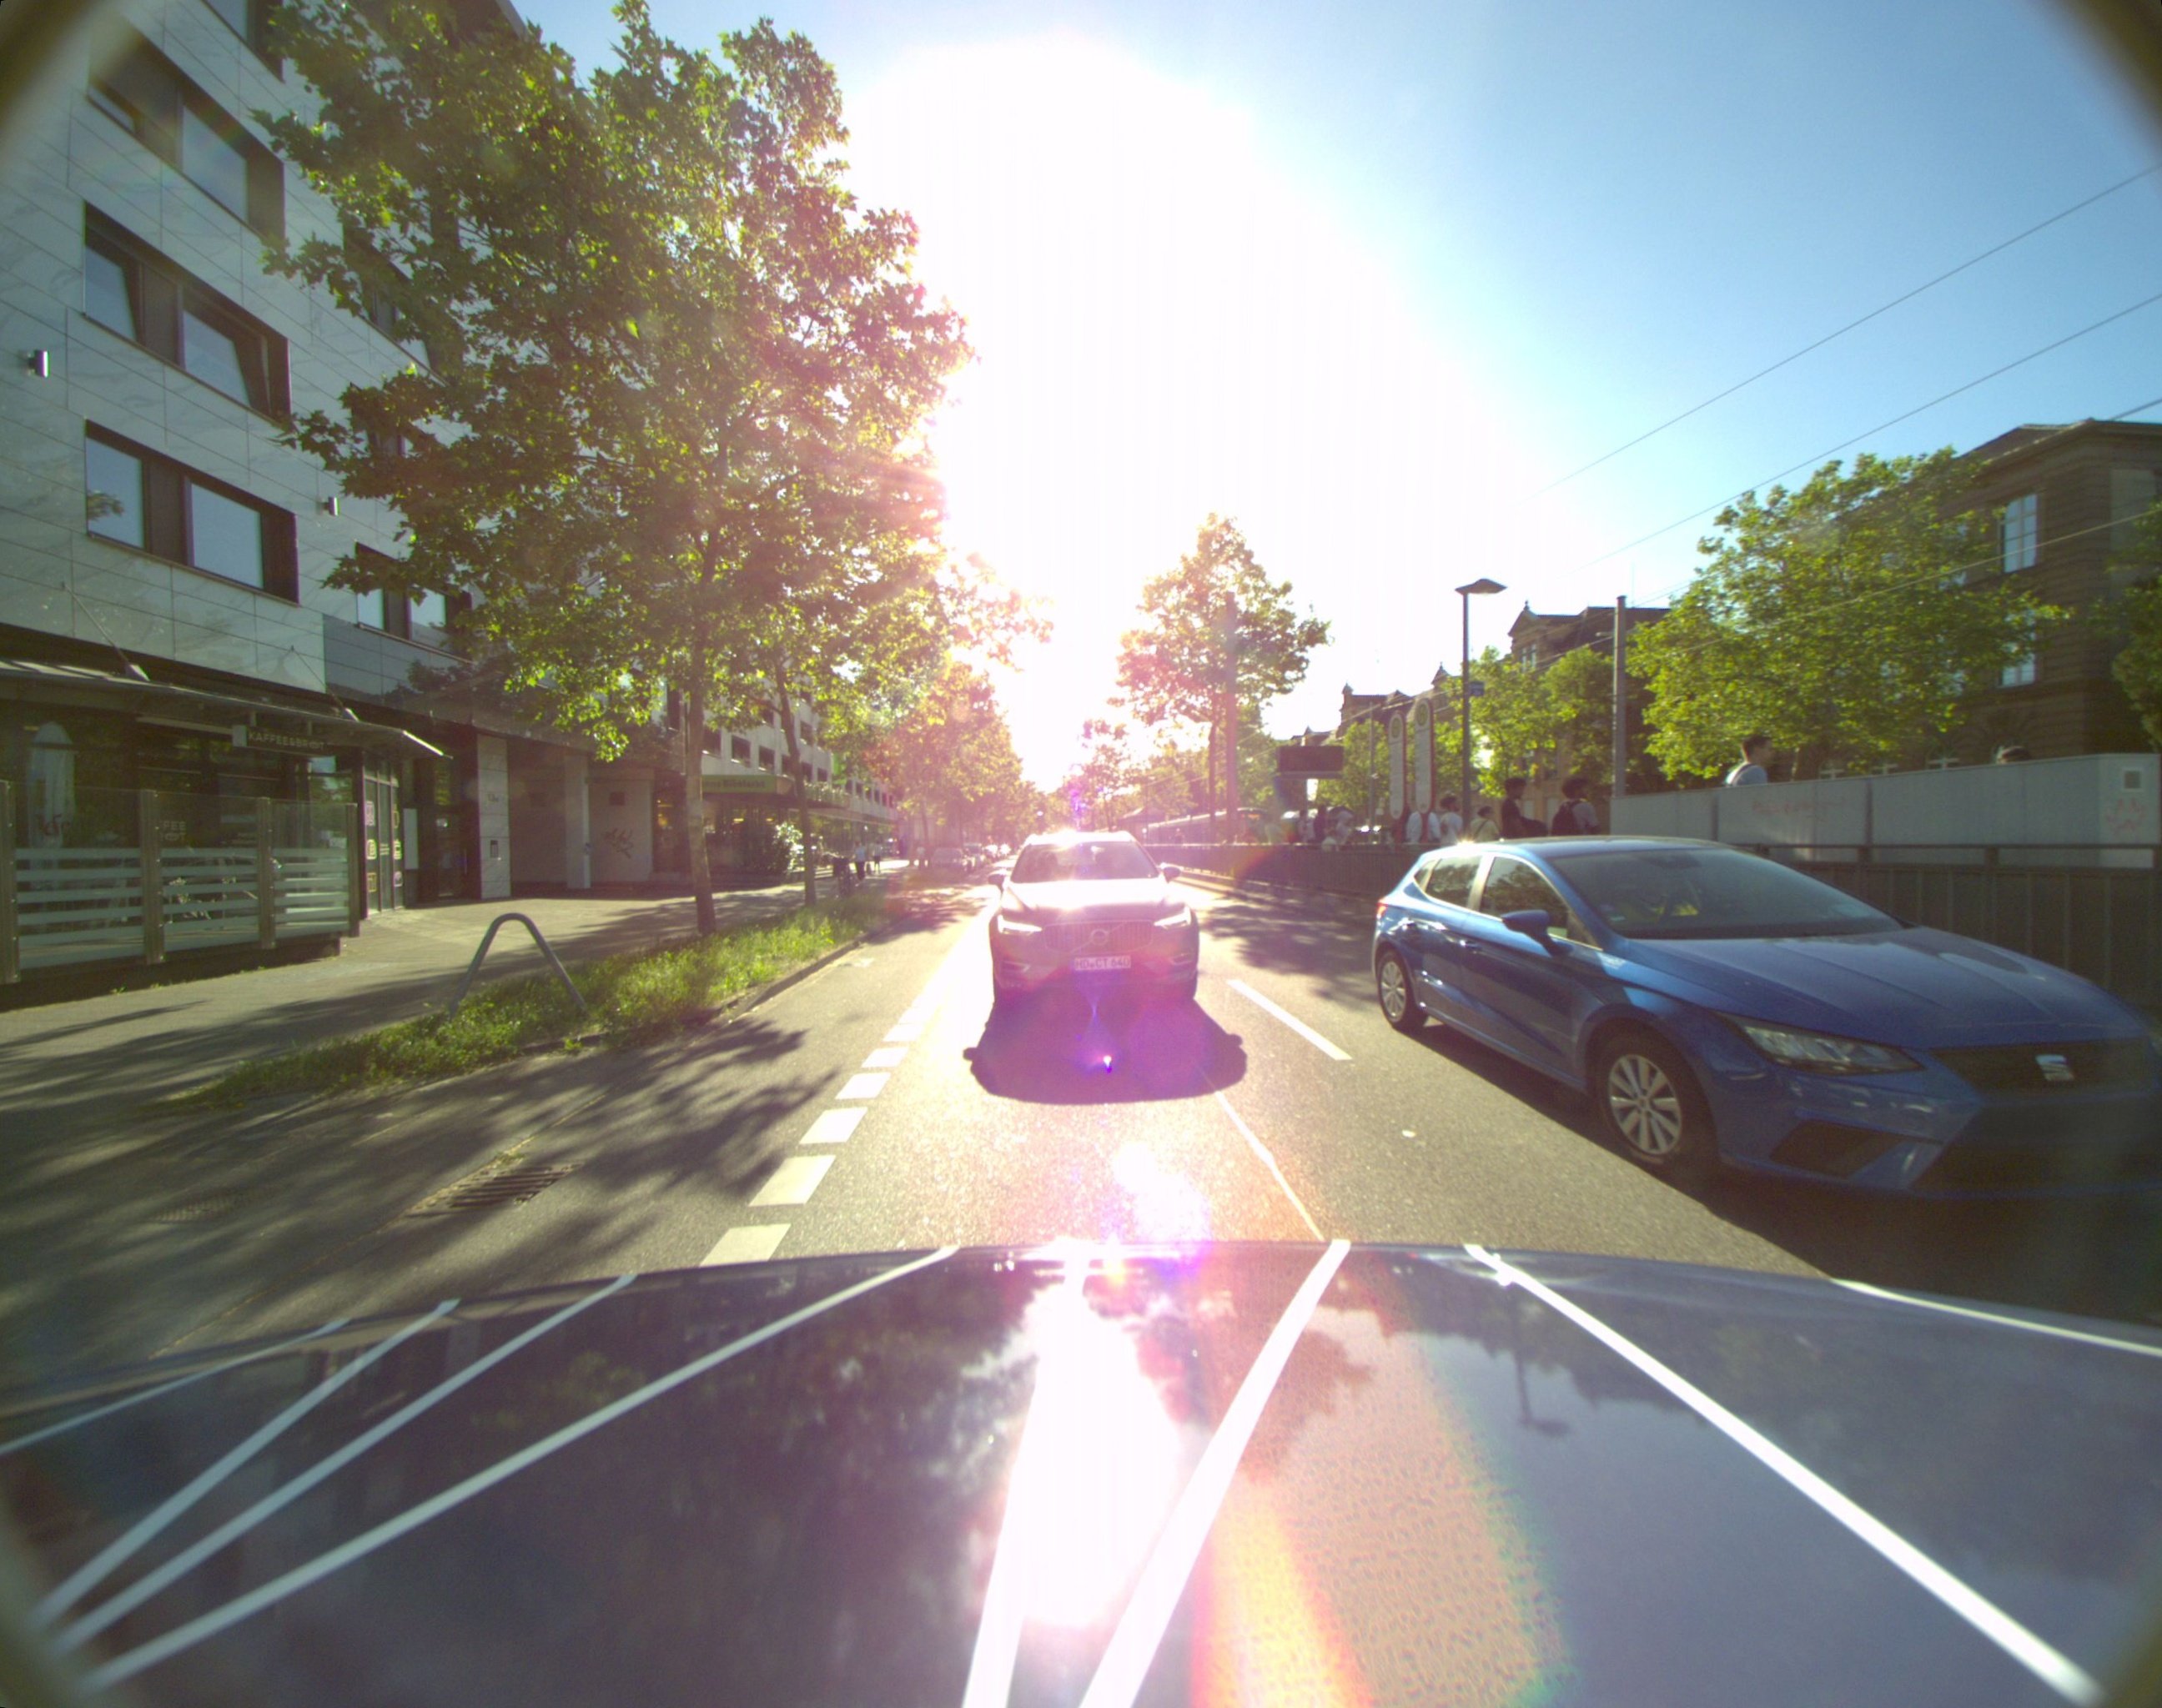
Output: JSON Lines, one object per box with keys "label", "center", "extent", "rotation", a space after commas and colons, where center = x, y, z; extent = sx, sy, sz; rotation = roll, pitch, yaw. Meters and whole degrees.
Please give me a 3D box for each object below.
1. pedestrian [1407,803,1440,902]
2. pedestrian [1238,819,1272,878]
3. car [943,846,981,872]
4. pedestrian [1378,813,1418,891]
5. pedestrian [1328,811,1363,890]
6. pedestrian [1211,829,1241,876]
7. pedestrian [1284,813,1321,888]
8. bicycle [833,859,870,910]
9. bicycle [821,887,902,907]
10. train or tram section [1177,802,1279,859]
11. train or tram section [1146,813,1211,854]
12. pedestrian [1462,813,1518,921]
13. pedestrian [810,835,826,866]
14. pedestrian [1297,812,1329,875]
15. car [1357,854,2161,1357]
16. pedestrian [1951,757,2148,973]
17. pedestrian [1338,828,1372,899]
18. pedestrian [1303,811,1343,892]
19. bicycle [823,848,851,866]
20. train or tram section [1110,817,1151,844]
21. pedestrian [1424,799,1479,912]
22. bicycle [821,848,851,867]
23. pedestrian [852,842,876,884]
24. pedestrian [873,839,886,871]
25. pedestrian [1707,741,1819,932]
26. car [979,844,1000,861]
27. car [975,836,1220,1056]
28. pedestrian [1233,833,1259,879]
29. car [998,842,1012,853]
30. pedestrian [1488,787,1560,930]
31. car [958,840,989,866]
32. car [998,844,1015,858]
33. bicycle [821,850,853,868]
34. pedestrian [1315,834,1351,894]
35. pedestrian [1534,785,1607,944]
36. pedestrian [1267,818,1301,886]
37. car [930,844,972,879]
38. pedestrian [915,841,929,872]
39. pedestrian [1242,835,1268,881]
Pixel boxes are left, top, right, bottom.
{"label": "pedestrian", "center": [5.995, -0.026, 13.322], "extent": [0.506, 1.692, 0.612], "rotation": [0, 2, 24]}
{"label": "pedestrian", "center": [5.223, -0.167, 22.821], "extent": [0.778, 1.743, 0.722], "rotation": [0, 2, -7]}
{"label": "car", "center": [-6.931, 0.250, 44.598], "extent": [1.766, 1.410, 4.697], "rotation": [-2, 1, -4]}
{"label": "pedestrian", "center": [6.274, -0.037, 15.037], "extent": [0.546, 1.510, 0.530], "rotation": [0, 2, -4]}
{"label": "pedestrian", "center": [5.813, -0.075, 16.699], "extent": [0.516, 1.698, 0.621], "rotation": [-1, 2, -4]}
{"label": "pedestrian", "center": [4.651, -0.061, 24.406], "extent": [0.778, 1.501, 0.751], "rotation": [0, 2, -7]}
{"label": "pedestrian", "center": [5.067, -0.089, 17.368], "extent": [0.662, 1.686, 0.570], "rotation": [0, 2, -3]}
{"label": "bicycle", "center": [-5.507, 0.696, 18.301], "extent": [0.791, 1.127, 1.843], "rotation": [-1, 1, -16]}
{"label": "bicycle", "center": [-5.281, 1.029, 18.400], "extent": [1.613, 0.351, 1.388], "rotation": [0, 1, -4]}
{"label": "train or tram section", "center": [10.247, -1.587, 56.114], "extent": [2.857, 3.415, 18.204], "rotation": [-2, 1, -3]}
{"label": "train or tram section", "center": [9.174, -1.879, 74.352], "extent": [2.879, 3.415, 18.266], "rotation": [-2, 1, -3]}
{"label": "pedestrian", "center": [6.811, 0.202, 12.660], "extent": [0.555, 1.760, 0.611], "rotation": [-1, 2, -8]}
{"label": "pedestrian", "center": [-14.902, -0.203, 43.102], "extent": [0.614, 1.705, 0.611], "rotation": [5, 0, -28]}
{"label": "pedestrian", "center": [6.178, -0.289, 20.269], "extent": [0.620, 1.640, 0.622], "rotation": [-1, 2, -8]}
{"label": "car", "center": [3.164, 0.770, 4.267], "extent": [1.707, 1.408, 3.874], "rotation": [-2, 1, -1]}
{"label": "pedestrian", "center": [7.606, 0.066, 6.000], "extent": [0.642, 1.611, 0.640], "rotation": [-1, 4, -7]}
{"label": "pedestrian", "center": [5.099, 0.171, 14.142], "extent": [0.417, 1.308, 0.507], "rotation": [-1, 2, -5]}
{"label": "pedestrian", "center": [5.162, -0.058, 16.247], "extent": [0.662, 1.686, 0.570], "rotation": [0, 2, -3]}
{"label": "bicycle", "center": [-15.015, 0.173, 46.748], "extent": [1.700, 1.049, 0.587], "rotation": [2, 1, 23]}
{"label": "train or tram section", "center": [5.151, -2.453, 82.242], "extent": [2.570, 2.517, 15.064], "rotation": [-1, 1, -3]}
{"label": "pedestrian", "center": [5.713, 0.019, 11.738], "extent": [0.507, 1.692, 0.611], "rotation": [-1, 2, -8]}
{"label": "bicycle", "center": [-14.743, 0.202, 45.718], "extent": [1.700, 1.049, 0.587], "rotation": [2, 0, 23]}
{"label": "pedestrian", "center": [-8.436, 0.353, 29.533], "extent": [0.700, 1.603, 0.867], "rotation": [1, 1, -2]}
{"label": "pedestrian", "center": [-11.204, 0.050, 42.285], "extent": [0.561, 1.734, 0.878], "rotation": [0, 2, -4]}
{"label": "pedestrian", "center": [6.413, -0.162, 7.165], "extent": [0.549, 1.724, 0.539], "rotation": [-1, 2, -8]}
{"label": "car", "center": [-8.344, -0.164, 69.385], "extent": [1.678, 1.430, 3.687], "rotation": [1, 2, -5]}
{"label": "car", "center": [0.009, 0.678, 8.196], "extent": [1.914, 1.696, 4.271], "rotation": [-2, 2, -4]}
{"label": "pedestrian", "center": [4.724, 0.054, 21.779], "extent": [0.535, 1.292, 0.604], "rotation": [0, 2, -7]}
{"label": "car", "center": [-11.120, -0.962, 111.009], "extent": [1.839, 1.556, 4.271], "rotation": [-2, 1, -4]}
{"label": "pedestrian", "center": [5.520, 0.050, 9.488], "extent": [0.549, 1.724, 0.539], "rotation": [-1, 2, -8]}
{"label": "car", "center": [-7.591, -0.108, 54.040], "extent": [1.769, 1.781, 4.391], "rotation": [0, 1, -3]}
{"label": "car", "center": [-7.862, -0.306, 80.161], "extent": [1.630, 1.434, 3.928], "rotation": [0, 1, -4]}
{"label": "bicycle", "center": [-13.225, 0.280, 41.145], "extent": [1.648, 0.911, 0.587], "rotation": [2, -1, 23]}
{"label": "pedestrian", "center": [5.134, 0.199, 15.505], "extent": [0.546, 1.185, 0.530], "rotation": [-1, 2, -4]}
{"label": "pedestrian", "center": [5.502, 0.111, 8.565], "extent": [0.538, 1.724, 0.550], "rotation": [0, 2, 17]}
{"label": "pedestrian", "center": [4.922, -0.053, 18.431], "extent": [0.662, 1.624, 0.570], "rotation": [0, 2, -3]}
{"label": "car", "center": [-6.350, 0.317, 37.408], "extent": [1.569, 1.541, 3.998], "rotation": [-1, 1, -3]}
{"label": "pedestrian", "center": [-8.868, 0.125, 42.392], "extent": [0.561, 1.694, 1.051], "rotation": [0, 1, -4]}
{"label": "pedestrian", "center": [4.775, 0.091, 20.843], "extent": [0.535, 1.239, 0.604], "rotation": [0, 2, -6]}
